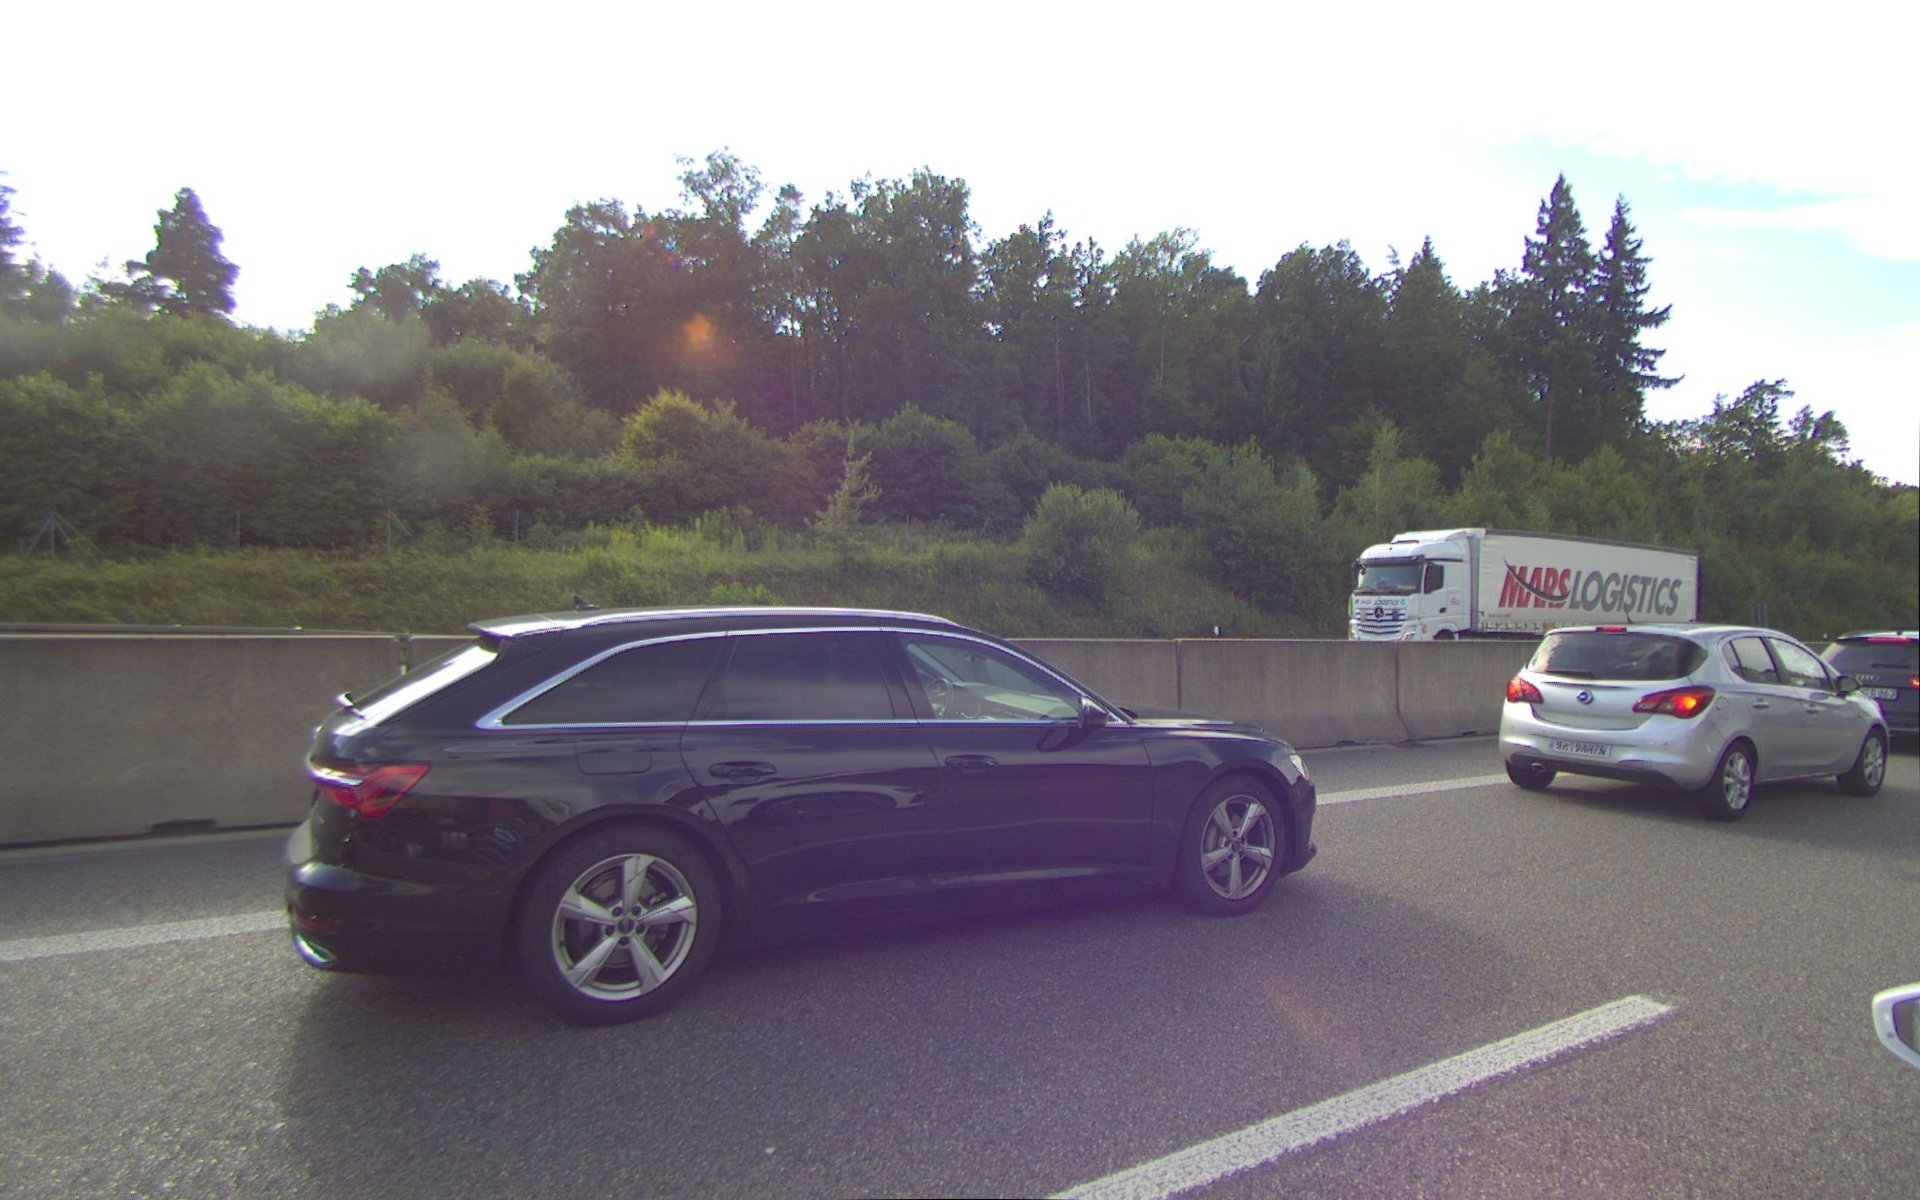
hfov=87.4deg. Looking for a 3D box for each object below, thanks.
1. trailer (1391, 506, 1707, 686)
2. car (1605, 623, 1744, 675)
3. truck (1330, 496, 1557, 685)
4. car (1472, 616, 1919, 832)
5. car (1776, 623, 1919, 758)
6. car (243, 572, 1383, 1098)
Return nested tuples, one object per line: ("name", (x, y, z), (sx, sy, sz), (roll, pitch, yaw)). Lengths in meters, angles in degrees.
("trailer", (20.637, 0.080, 34.625), (13.674, 5.351, 3.027), (2, 0, -31))
("car", (22.180, 1.486, 31.151), (4.273, 1.447, 1.945), (1, 0, -30))
("truck", (15.145, -0.179, 31.382), (6.803, 5.322, 3.024), (2, 0, -30))
("car", (6.480, 0.906, 8.742), (3.993, 1.485, 1.739), (1, -1, -30))
("car", (12.657, 1.089, 12.879), (4.691, 1.475, 1.834), (1, 0, -30))
("car", (-0.367, 0.710, 4.841), (4.793, 1.491, 1.874), (1, 0, -29))
